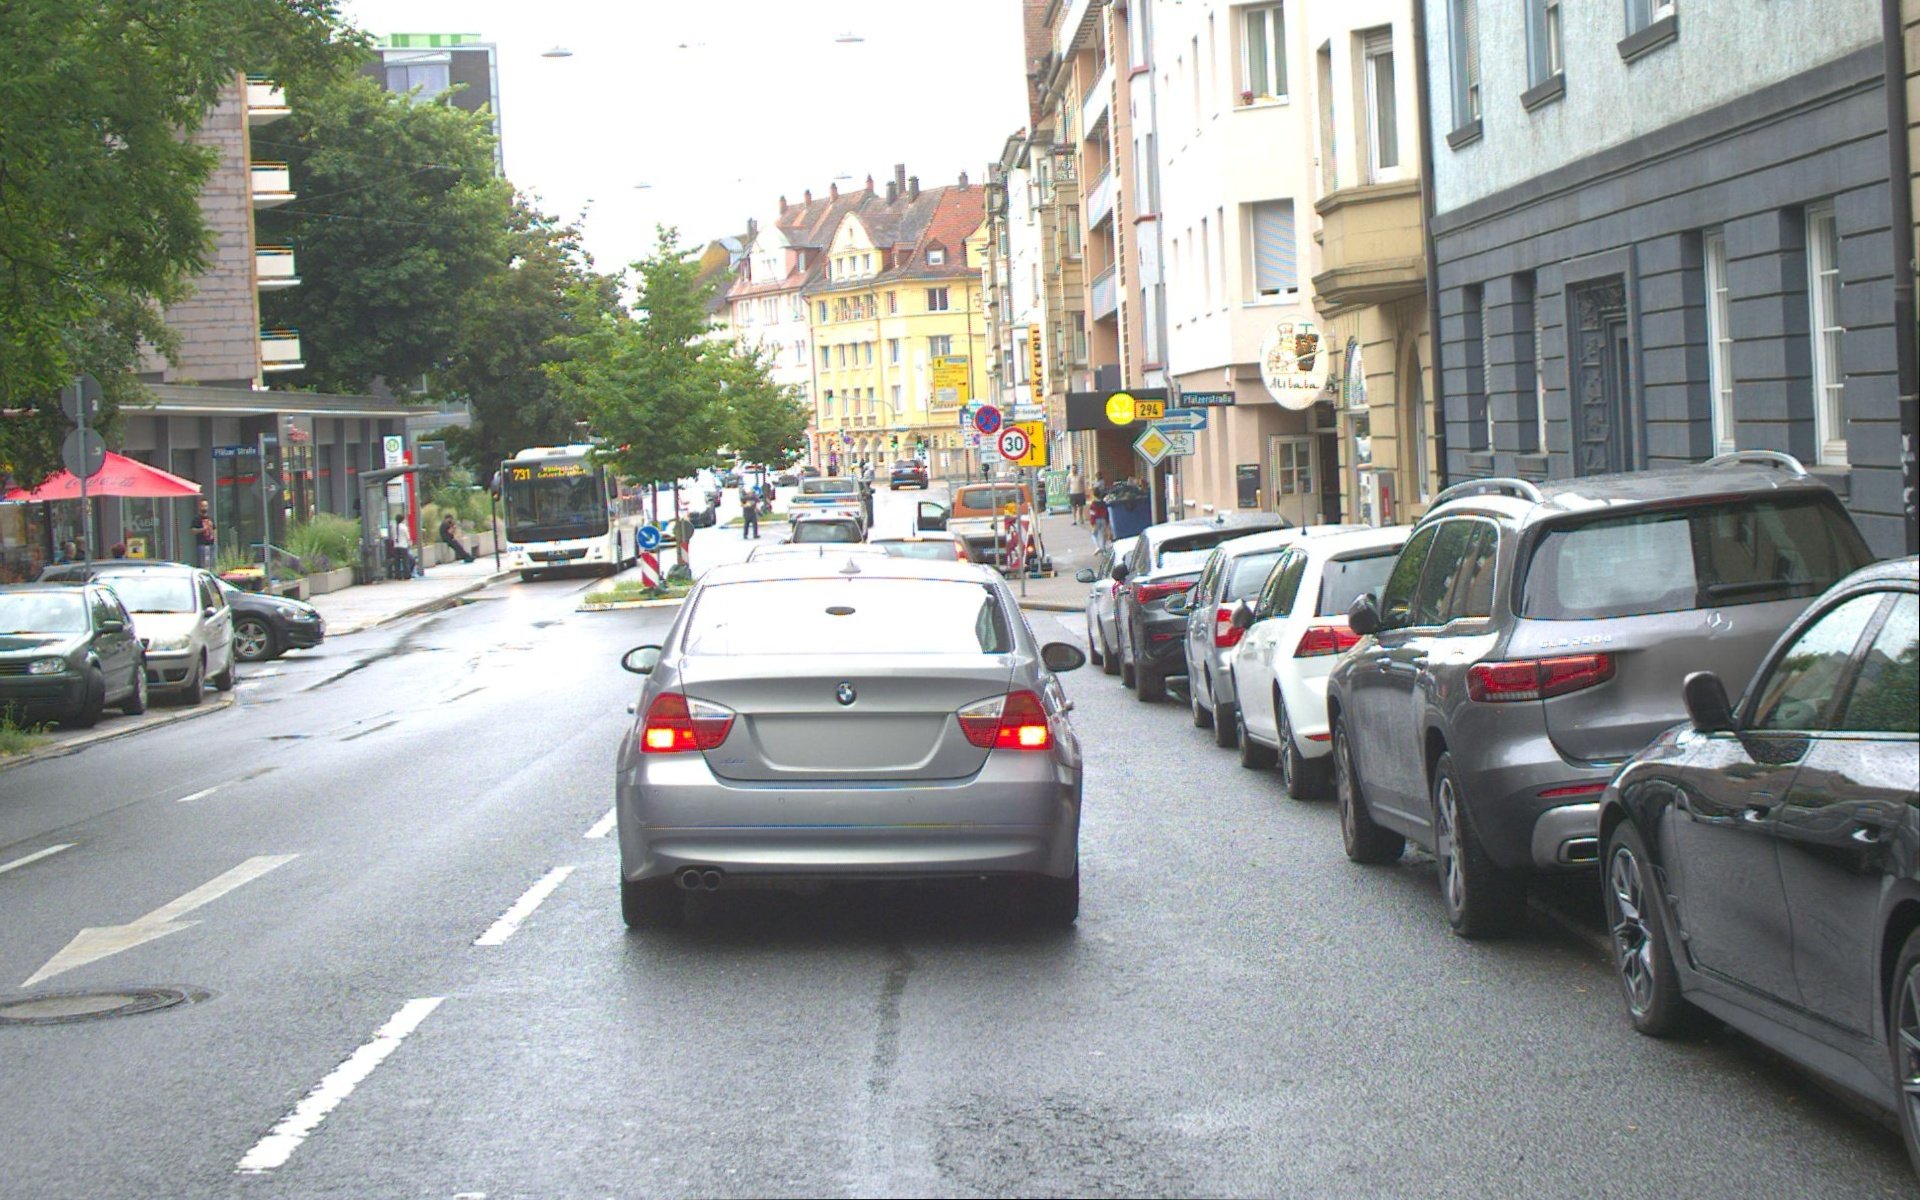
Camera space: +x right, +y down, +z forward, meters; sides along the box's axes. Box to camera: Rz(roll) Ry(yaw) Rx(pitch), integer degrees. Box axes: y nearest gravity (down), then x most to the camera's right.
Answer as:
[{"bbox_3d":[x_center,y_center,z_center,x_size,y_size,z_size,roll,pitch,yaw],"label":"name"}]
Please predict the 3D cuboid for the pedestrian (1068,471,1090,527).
[{"bbox_3d":[3.575,-3.045,103.605,0.615,1.655,0.754,0,0,5],"label":"pedestrian"}]

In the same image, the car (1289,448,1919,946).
[{"bbox_3d":[2.587,0.294,14.003,1.840,1.615,4.209,-4,1,-2],"label":"car"}]

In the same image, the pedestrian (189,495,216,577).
[{"bbox_3d":[-16.666,-1.410,75.674,0.465,1.783,0.544,0,0,0],"label":"pedestrian"}]

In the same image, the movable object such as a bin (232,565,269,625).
[{"bbox_3d":[-13.067,-0.097,63.318,0.490,1.077,0.606,-3,0,0],"label":"movable object such as a bin"}]

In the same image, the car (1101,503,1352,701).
[{"bbox_3d":[2.358,-0.033,31.456,1.818,1.552,4.293,-4,1,0],"label":"car"}]

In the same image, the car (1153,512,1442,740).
[{"bbox_3d":[2.417,0.134,25.393,1.583,1.424,3.595,-5,2,-1],"label":"car"}]

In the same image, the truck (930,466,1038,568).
[{"bbox_3d":[0.564,-1.789,74.844,2.215,2.109,4.652,1,1,1],"label":"truck"}]

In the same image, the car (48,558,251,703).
[{"bbox_3d":[-9.125,0.305,38.935,1.631,1.449,3.840,-2,1,-5],"label":"car"}]

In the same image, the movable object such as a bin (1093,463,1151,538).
[{"bbox_3d":[3.855,-2.364,81.918,1.122,1.697,1.434,-3,1,-3],"label":"movable object such as a bin"}]

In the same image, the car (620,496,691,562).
[{"bbox_3d":[-9.590,-2.214,108.523,1.993,2.007,4.000,-1,0,-2],"label":"car"}]

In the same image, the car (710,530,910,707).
[{"bbox_3d":[-1.300,0.139,29.306,1.601,1.415,3.288,0,0,-3],"label":"car"}]

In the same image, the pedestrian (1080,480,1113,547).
[{"bbox_3d":[3.365,-2.127,84.742,0.749,1.655,0.837,0,0,5],"label":"pedestrian"}]

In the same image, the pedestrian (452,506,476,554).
[{"bbox_3d":[-14.138,-1.996,97.995,0.619,1.373,0.544,0,0,0],"label":"pedestrian"}]

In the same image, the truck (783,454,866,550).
[{"bbox_3d":[-3.703,-2.663,94.408,2.216,2.535,4.780,0,0,-2],"label":"truck"}]

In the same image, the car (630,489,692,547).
[{"bbox_3d":[-10.740,-2.938,123.781,1.993,2.007,4.000,1,0,-2],"label":"car"}]

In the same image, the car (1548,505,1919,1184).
[{"bbox_3d":[2.900,0.468,8.646,1.840,1.404,4.388,-5,1,-2],"label":"car"}]

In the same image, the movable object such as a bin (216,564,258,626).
[{"bbox_3d":[-13.100,-0.093,62.300,0.554,1.077,0.731,-3,0,0],"label":"movable object such as a bin"}]

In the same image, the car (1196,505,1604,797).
[{"bbox_3d":[2.512,0.222,20.540,1.729,1.424,3.974,-5,2,-1],"label":"car"}]

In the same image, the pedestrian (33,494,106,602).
[{"bbox_3d":[-14.696,-0.863,56.759,1.062,1.725,0.714,-2,2,-11],"label":"pedestrian"}]

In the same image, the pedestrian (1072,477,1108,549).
[{"bbox_3d":[3.022,-2.026,79.928,0.750,1.655,0.755,0,0,-4],"label":"pedestrian"}]

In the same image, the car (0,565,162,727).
[{"bbox_3d":[-9.235,0.432,34.496,1.653,1.449,3.943,-3,1,-3],"label":"car"}]

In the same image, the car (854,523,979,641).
[{"bbox_3d":[-0.489,-0.222,41.419,1.435,1.352,3.762,0,0,0],"label":"car"}]

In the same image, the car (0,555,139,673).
[{"bbox_3d":[-12.845,0.224,44.745,3.816,1.385,1.743,-3,3,2],"label":"car"}]

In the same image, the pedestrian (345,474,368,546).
[{"bbox_3d":[-15.064,-2.256,85.846,0.542,1.783,0.508,0,0,-10],"label":"pedestrian"}]

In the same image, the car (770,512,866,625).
[{"bbox_3d":[-2.647,-0.571,63.382,1.705,2.007,4.001,0,0,-3],"label":"car"}]

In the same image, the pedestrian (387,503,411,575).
[{"bbox_3d":[-13.440,-1.460,82.313,0.542,1.703,0.466,0,0,-7],"label":"pedestrian"}]

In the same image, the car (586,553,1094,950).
[{"bbox_3d":[-0.452,0.518,13.630,1.756,1.358,3.165,-1,0,-1],"label":"car"}]

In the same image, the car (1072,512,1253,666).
[{"bbox_3d":[2.134,-0.154,37.088,1.569,1.459,4.089,-4,1,-1],"label":"car"}]

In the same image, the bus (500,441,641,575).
[{"bbox_3d":[-9.867,-2.253,88.186,2.681,3.189,11.957,0,0,-2],"label":"bus"}]

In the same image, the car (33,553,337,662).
[{"bbox_3d":[-10.677,0.094,47.557,3.815,1.385,1.743,-1,0,-2],"label":"car"}]
